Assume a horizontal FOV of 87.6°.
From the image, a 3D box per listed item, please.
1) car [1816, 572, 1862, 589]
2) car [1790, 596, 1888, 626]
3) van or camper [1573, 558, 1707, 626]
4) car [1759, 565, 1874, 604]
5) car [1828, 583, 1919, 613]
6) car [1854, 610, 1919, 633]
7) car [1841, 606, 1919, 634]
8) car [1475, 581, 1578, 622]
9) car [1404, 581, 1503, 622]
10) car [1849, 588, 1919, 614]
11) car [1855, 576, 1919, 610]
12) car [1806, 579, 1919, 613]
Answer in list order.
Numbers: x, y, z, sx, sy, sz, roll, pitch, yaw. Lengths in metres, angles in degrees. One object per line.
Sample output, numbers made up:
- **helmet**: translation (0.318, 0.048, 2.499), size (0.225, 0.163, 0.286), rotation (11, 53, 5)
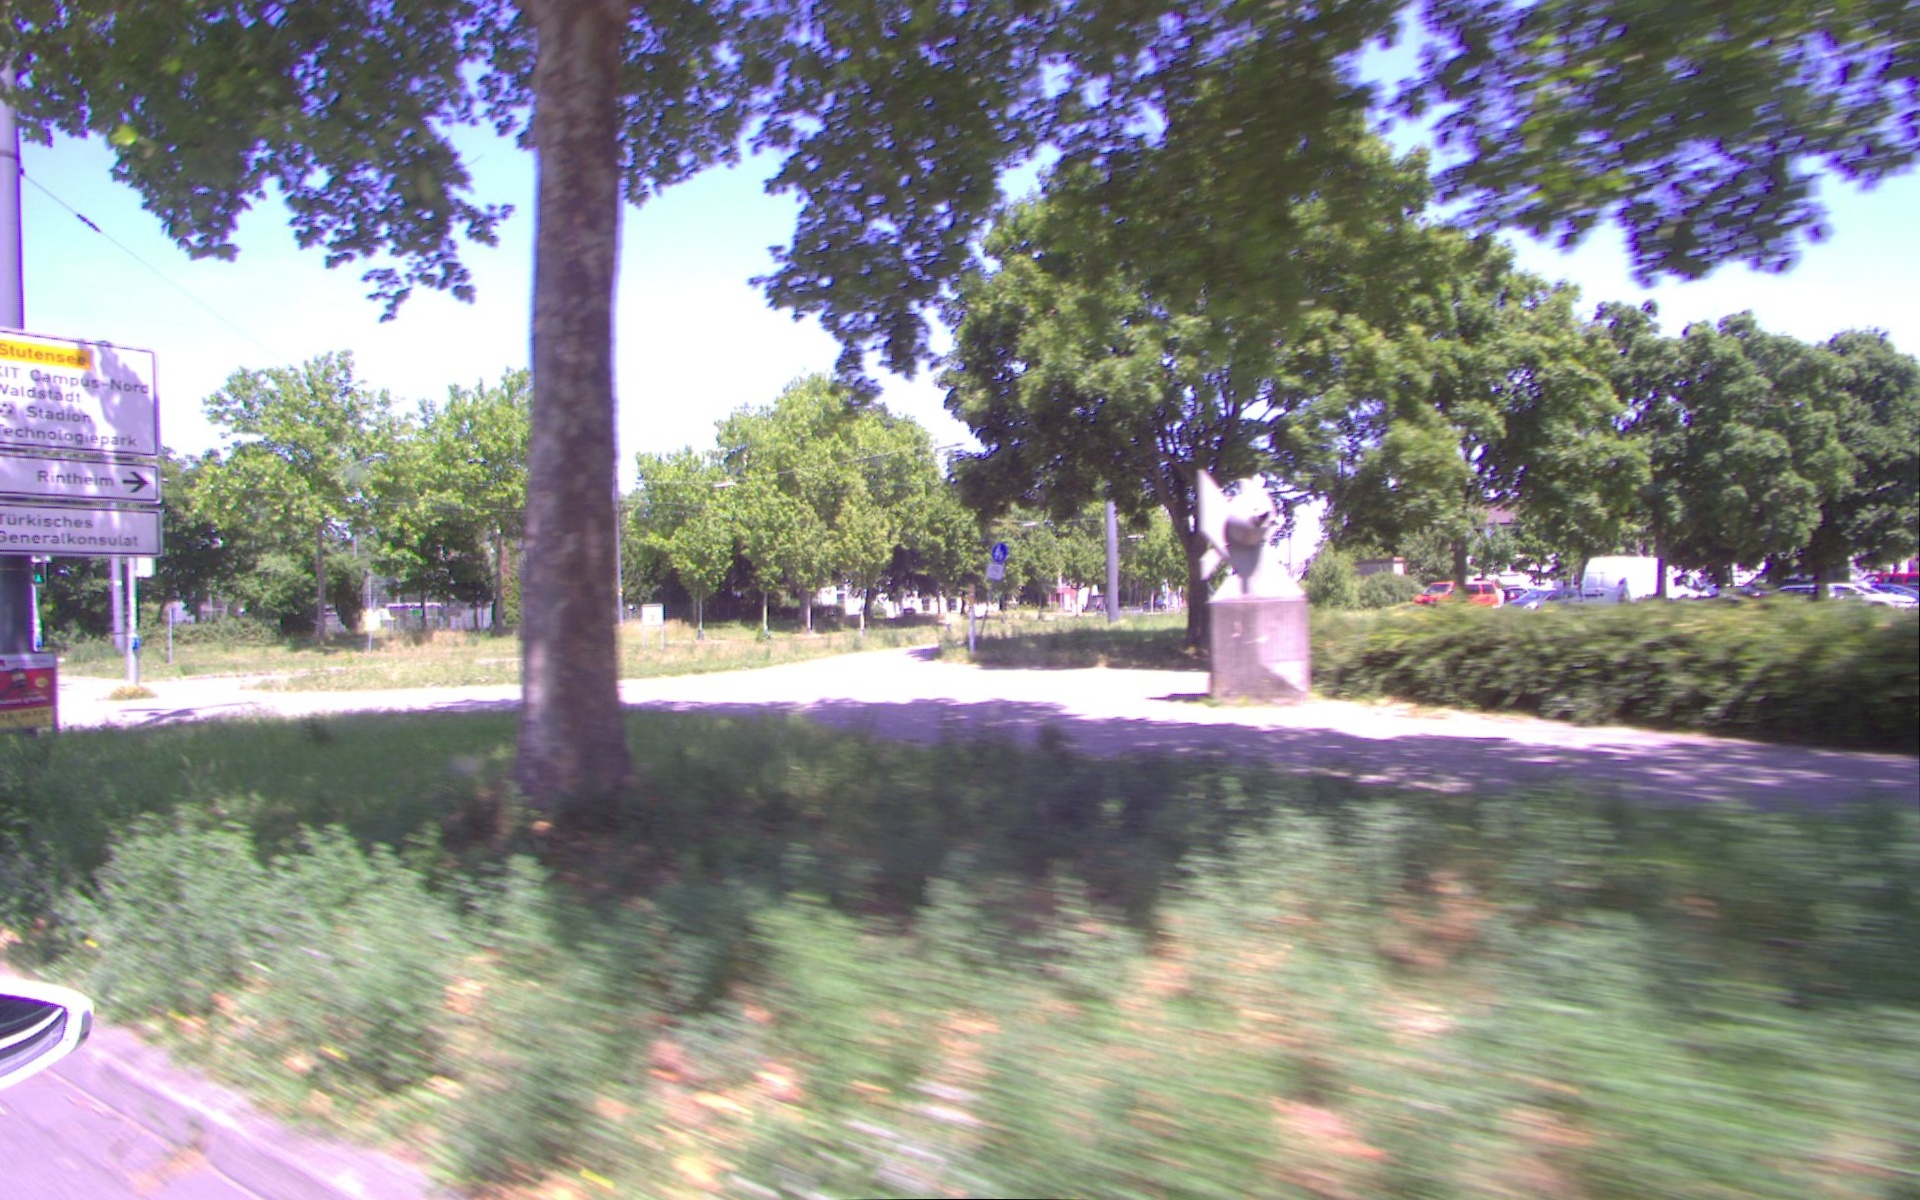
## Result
- **car**: translation (92.686, -2.059, 105.654), size (3.307, 1.639, 1.440), rotation (-1, 0, 17)
- **car**: translation (32.676, 0.423, 37.292), size (0.939, 1.049, 2.589), rotation (-1, 0, -27)
- **van or camper**: translation (29.015, -0.348, 42.739), size (5.041, 2.787, 2.198), rotation (-1, 0, -20)
- **car**: translation (47.982, -0.843, 56.205), size (2.210, 2.040, 4.407), rotation (-1, 0, -24)
- **car**: translation (36.475, -0.072, 39.987), size (0.991, 1.141, 2.589), rotation (-1, 0, -27)
- **car**: translation (35.653, 0.797, 37.872), size (0.939, 0.852, 2.589), rotation (-1, 0, -27)
- **car**: translation (34.631, 0.736, 37.290), size (0.939, 1.000, 2.589), rotation (-1, 0, -27)
- **car**: translation (25.896, 0.070, 45.782), size (4.001, 1.741, 1.951), rotation (-1, 0, -20)
- **car**: translation (25.553, 0.086, 51.865), size (4.584, 2.029, 2.069), rotation (-1, 0, -21)
- **car**: translation (38.800, 0.033, 40.784), size (1.656, 1.048, 3.552), rotation (-1, -1, -27)
- **car**: translation (58.550, -0.403, 62.197), size (1.936, 2.040, 3.985), rotation (-1, 0, -25)
- **car**: translation (36.277, -0.142, 39.940), size (1.595, 1.241, 3.559), rotation (-1, 0, -27)
